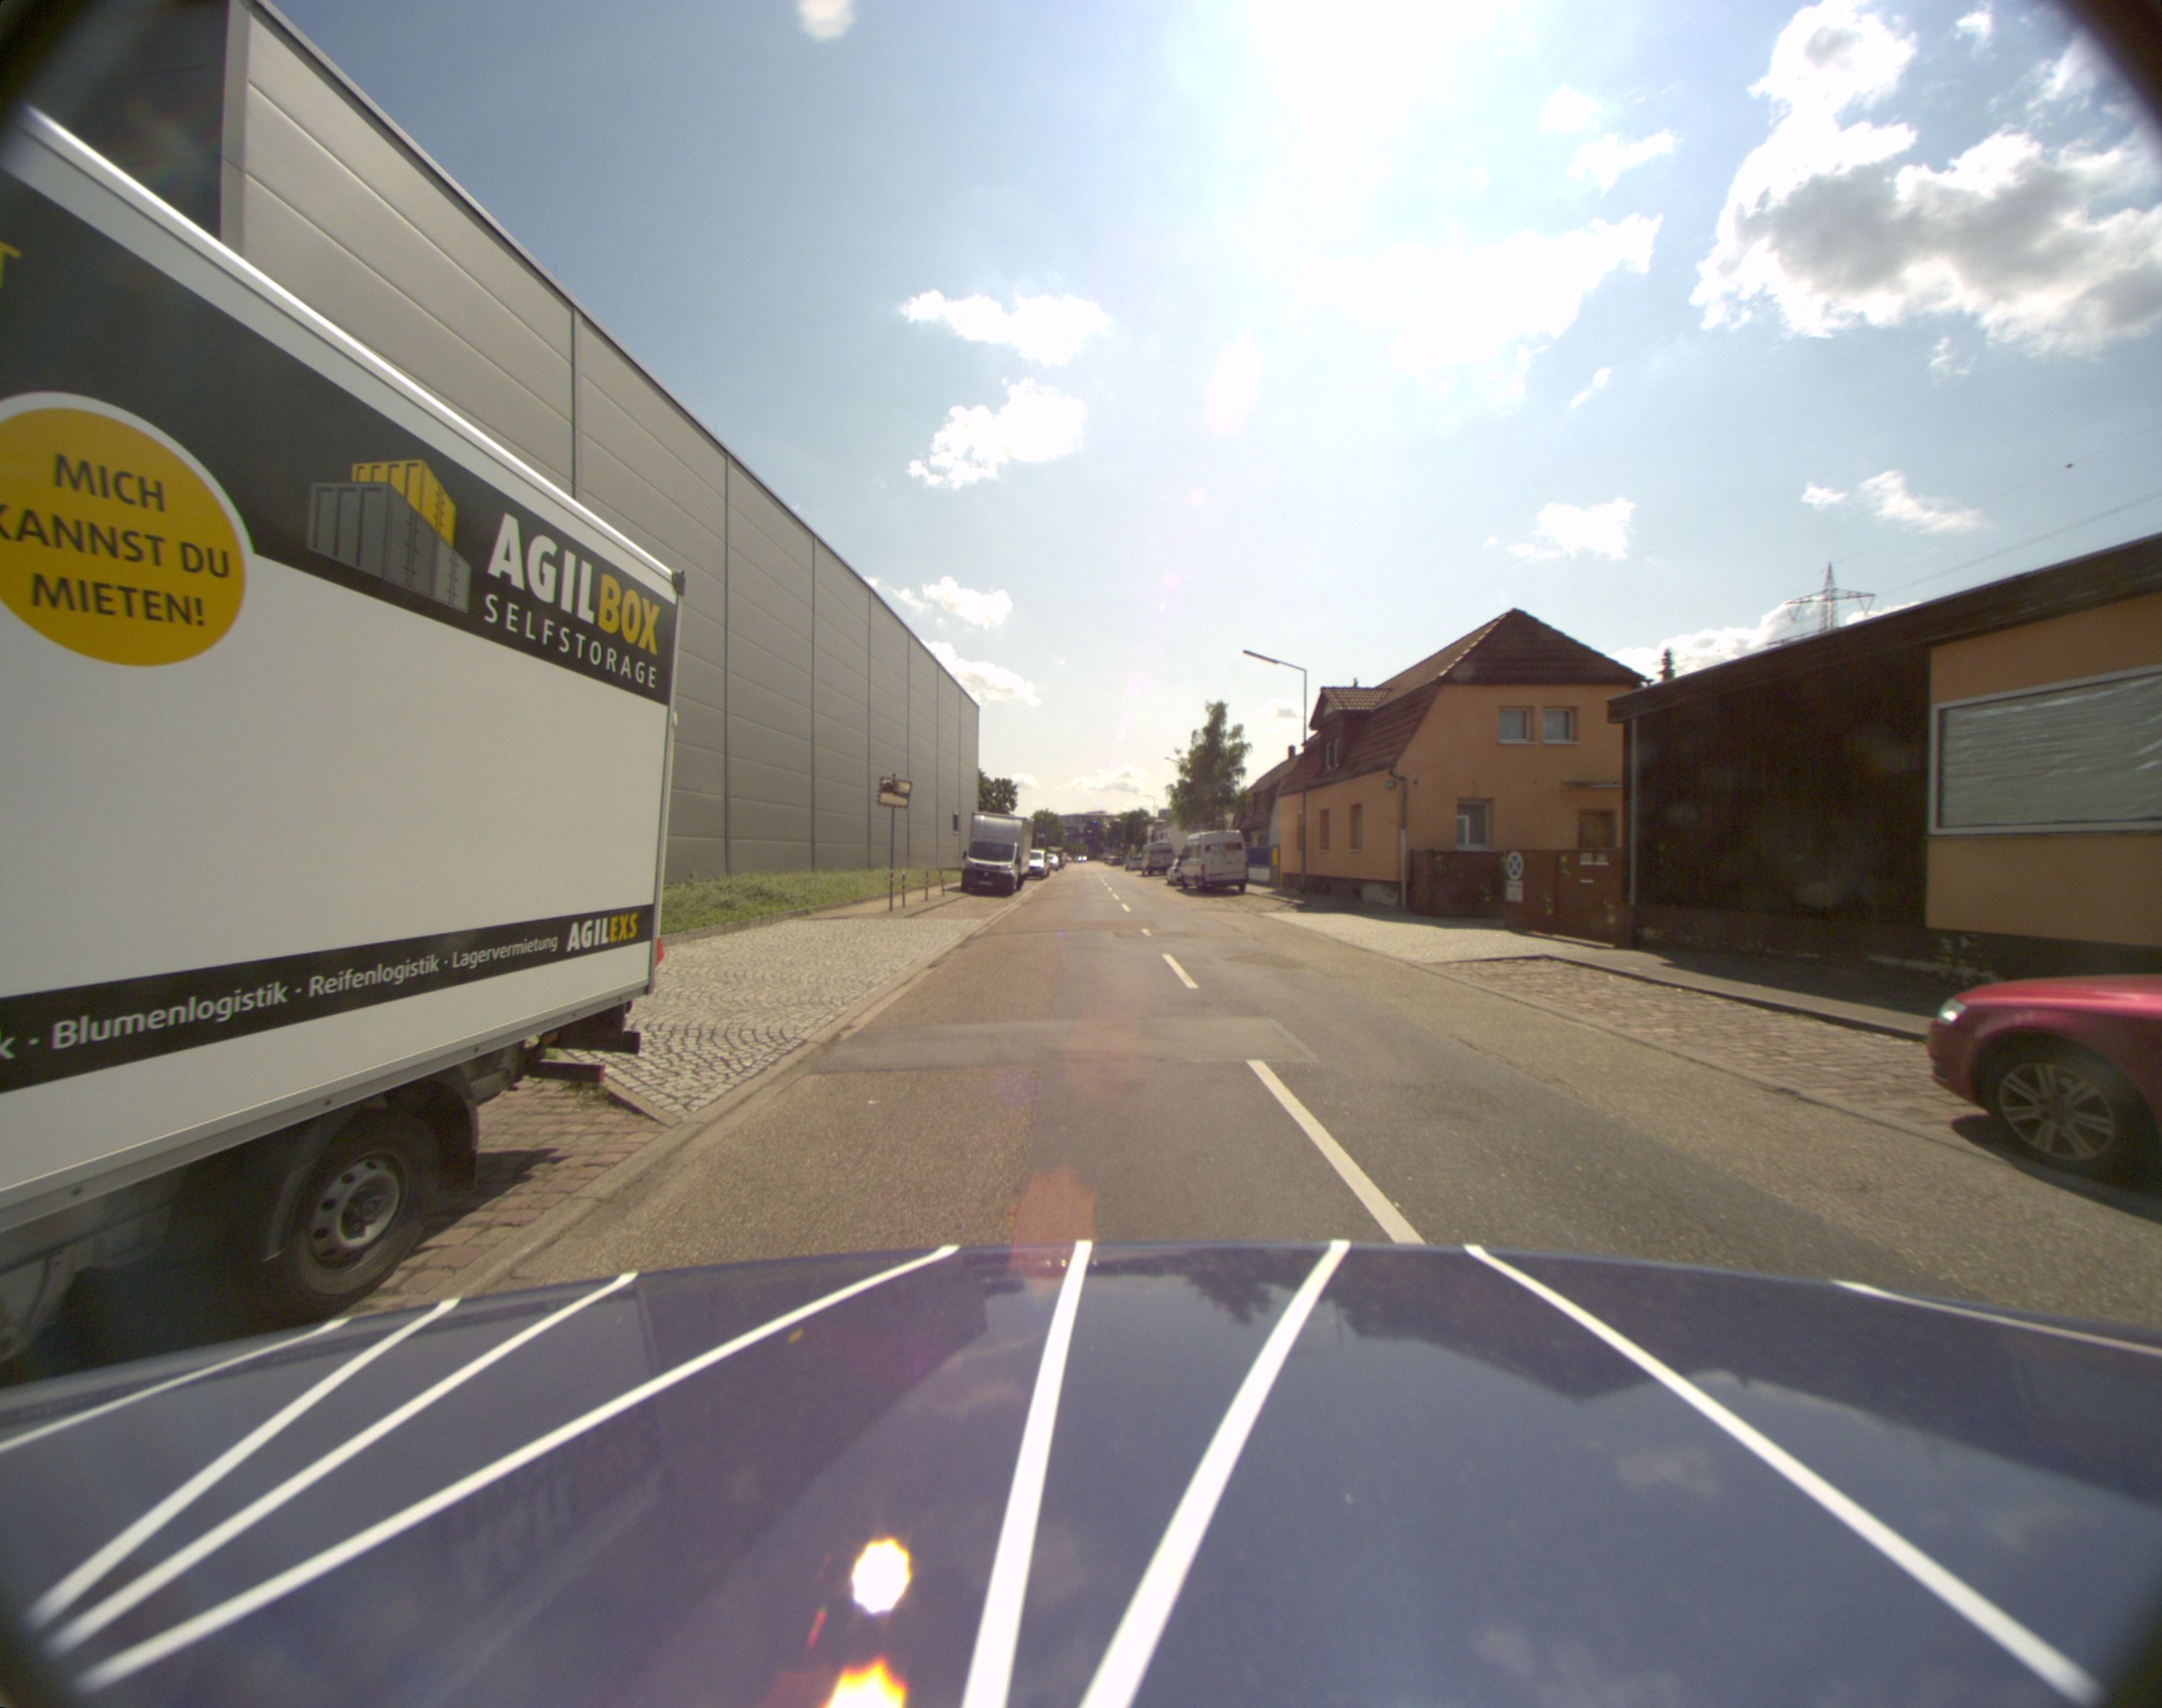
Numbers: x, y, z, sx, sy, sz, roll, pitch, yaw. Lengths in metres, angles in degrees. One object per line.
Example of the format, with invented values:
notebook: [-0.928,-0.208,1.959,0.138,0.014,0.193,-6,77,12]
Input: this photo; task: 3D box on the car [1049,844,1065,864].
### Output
car: [-2.959,0.029,94.785,1.828,2.366,4.109,-2,1,0]

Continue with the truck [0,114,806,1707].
truck: [-3.409,0.167,1.664,2.607,3.207,8.076,-2,1,-1]

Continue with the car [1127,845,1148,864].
car: [6.157,0.033,83.083,1.998,2.002,3.999,-2,1,1]

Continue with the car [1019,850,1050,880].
car: [-2.964,0.674,49.320,1.657,1.765,3.926,-2,1,1]

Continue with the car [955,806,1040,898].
car: [-3.365,-0.121,32.287,2.418,3.270,6.897,6,1,1]

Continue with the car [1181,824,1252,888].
car: [5.853,0.049,33.607,2.079,2.527,5.824,-2,1,1]

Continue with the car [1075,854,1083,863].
car: [-0.470,1.062,177.316,1.828,2.082,4.109,-2,1,0]

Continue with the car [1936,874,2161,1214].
car: [5.673,0.882,1.997,1.714,1.459,4.629,-2,1,2]

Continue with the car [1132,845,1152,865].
car: [6.064,0.083,75.856,1.658,1.860,3.926,-2,1,0]

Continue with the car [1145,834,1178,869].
car: [6.359,-0.210,60.485,1.998,2.556,5.824,-2,1,1]

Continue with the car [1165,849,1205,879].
car: [5.589,0.495,41.090,1.657,1.483,3.716,-2,1,1]

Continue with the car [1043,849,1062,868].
car: [-2.852,0.472,75.975,1.658,1.765,3.926,-2,1,0]

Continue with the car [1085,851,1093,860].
car: [2.035,0.364,185.938,1.828,2.111,4.109,-2,1,0]
